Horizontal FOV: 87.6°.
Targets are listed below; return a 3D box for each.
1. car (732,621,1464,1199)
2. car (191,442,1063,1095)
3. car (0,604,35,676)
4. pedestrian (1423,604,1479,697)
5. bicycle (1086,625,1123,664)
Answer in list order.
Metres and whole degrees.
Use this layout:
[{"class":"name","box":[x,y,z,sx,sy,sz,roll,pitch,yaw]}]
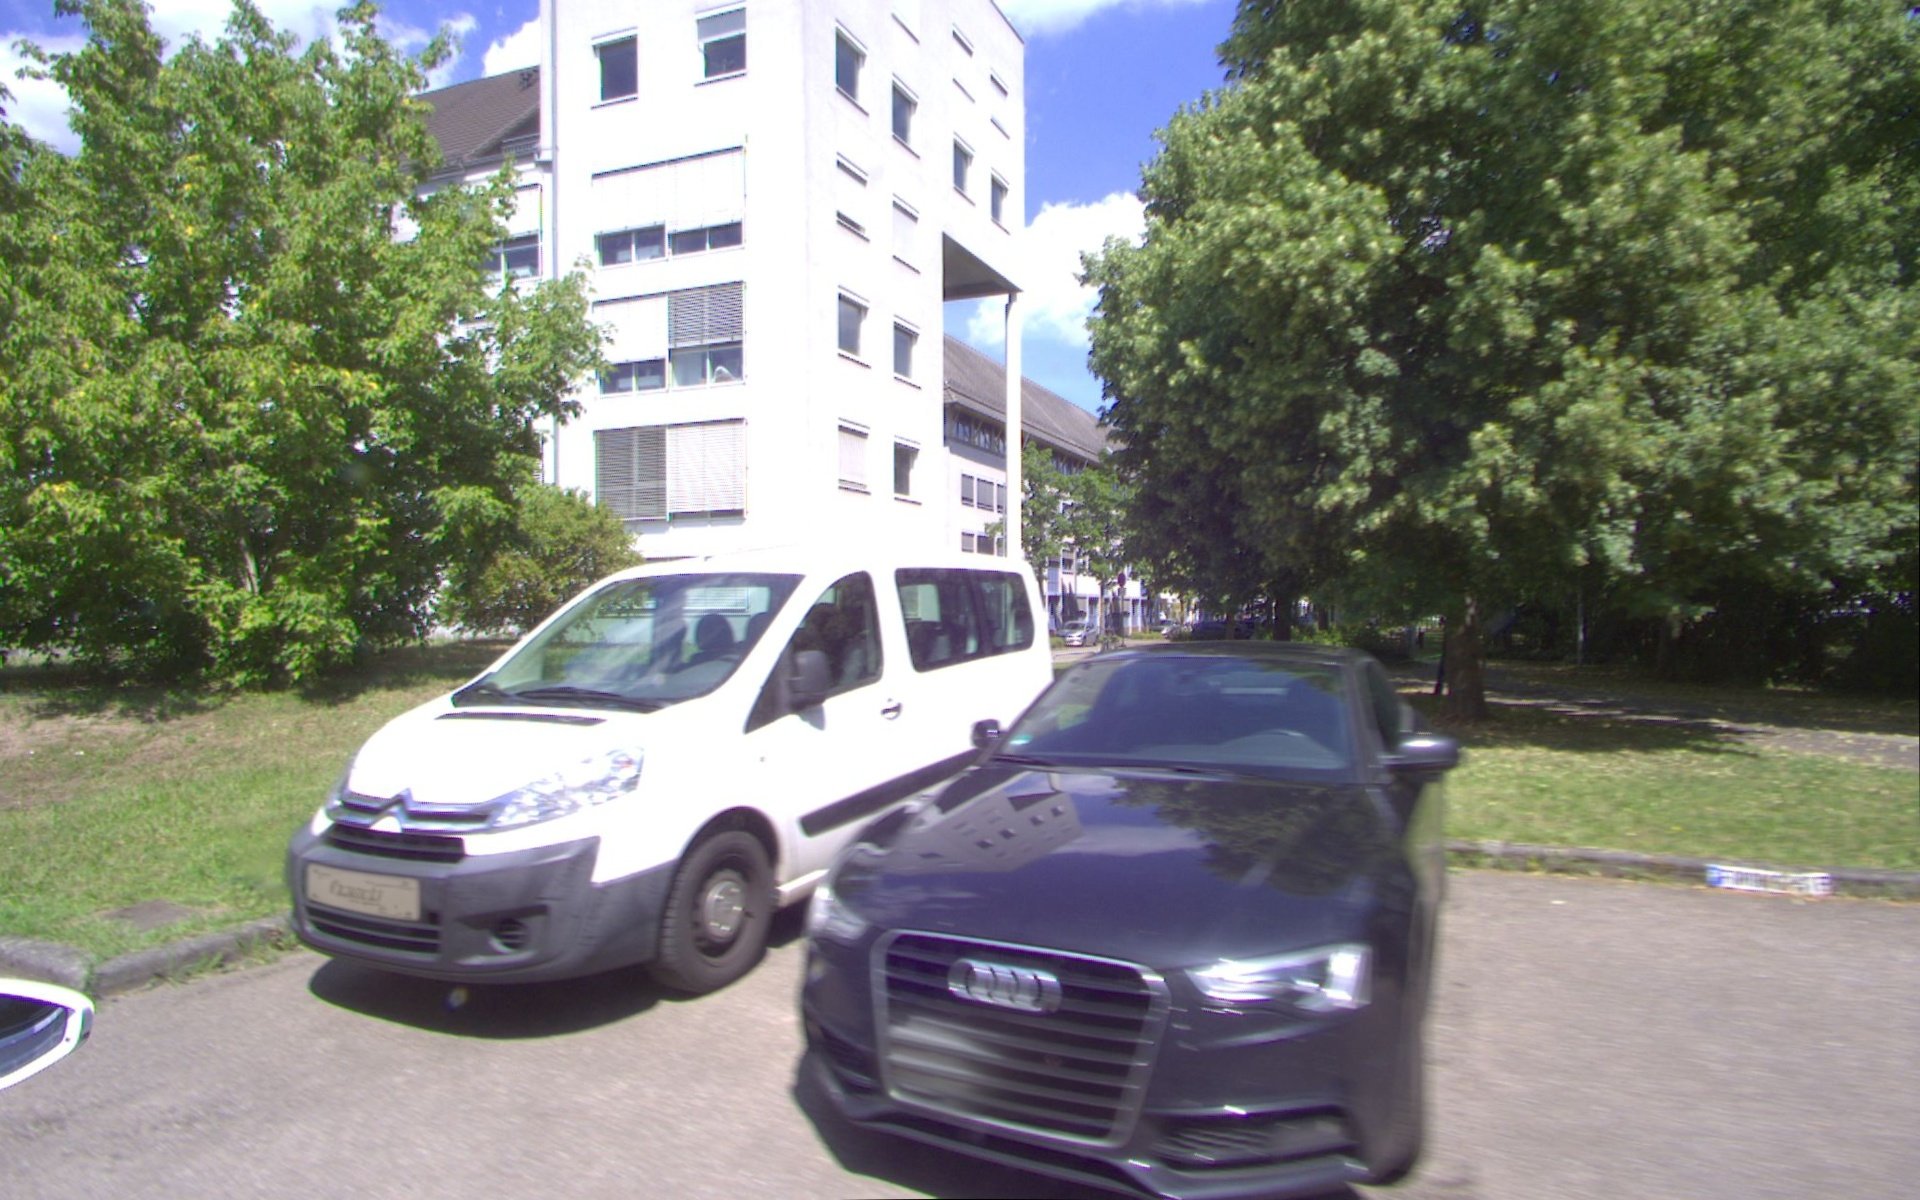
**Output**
[{"class":"car","box":[1.188,0.805,4.445,1.804,1.370,4.610,1,0,26]},{"class":"car","box":[-1.161,0.566,5.712,1.968,2.040,4.758,0,-1,26]},{"class":"car","box":[-21.442,0.830,20.009,1.775,1.498,3.987,0,0,25]},{"class":"pedestrian","box":[8.611,0.874,17.588,0.727,1.585,0.749,1,0,16]},{"class":"bicycle","box":[4.380,1.318,30.274,0.591,1.099,1.934,1,0,24]}]
